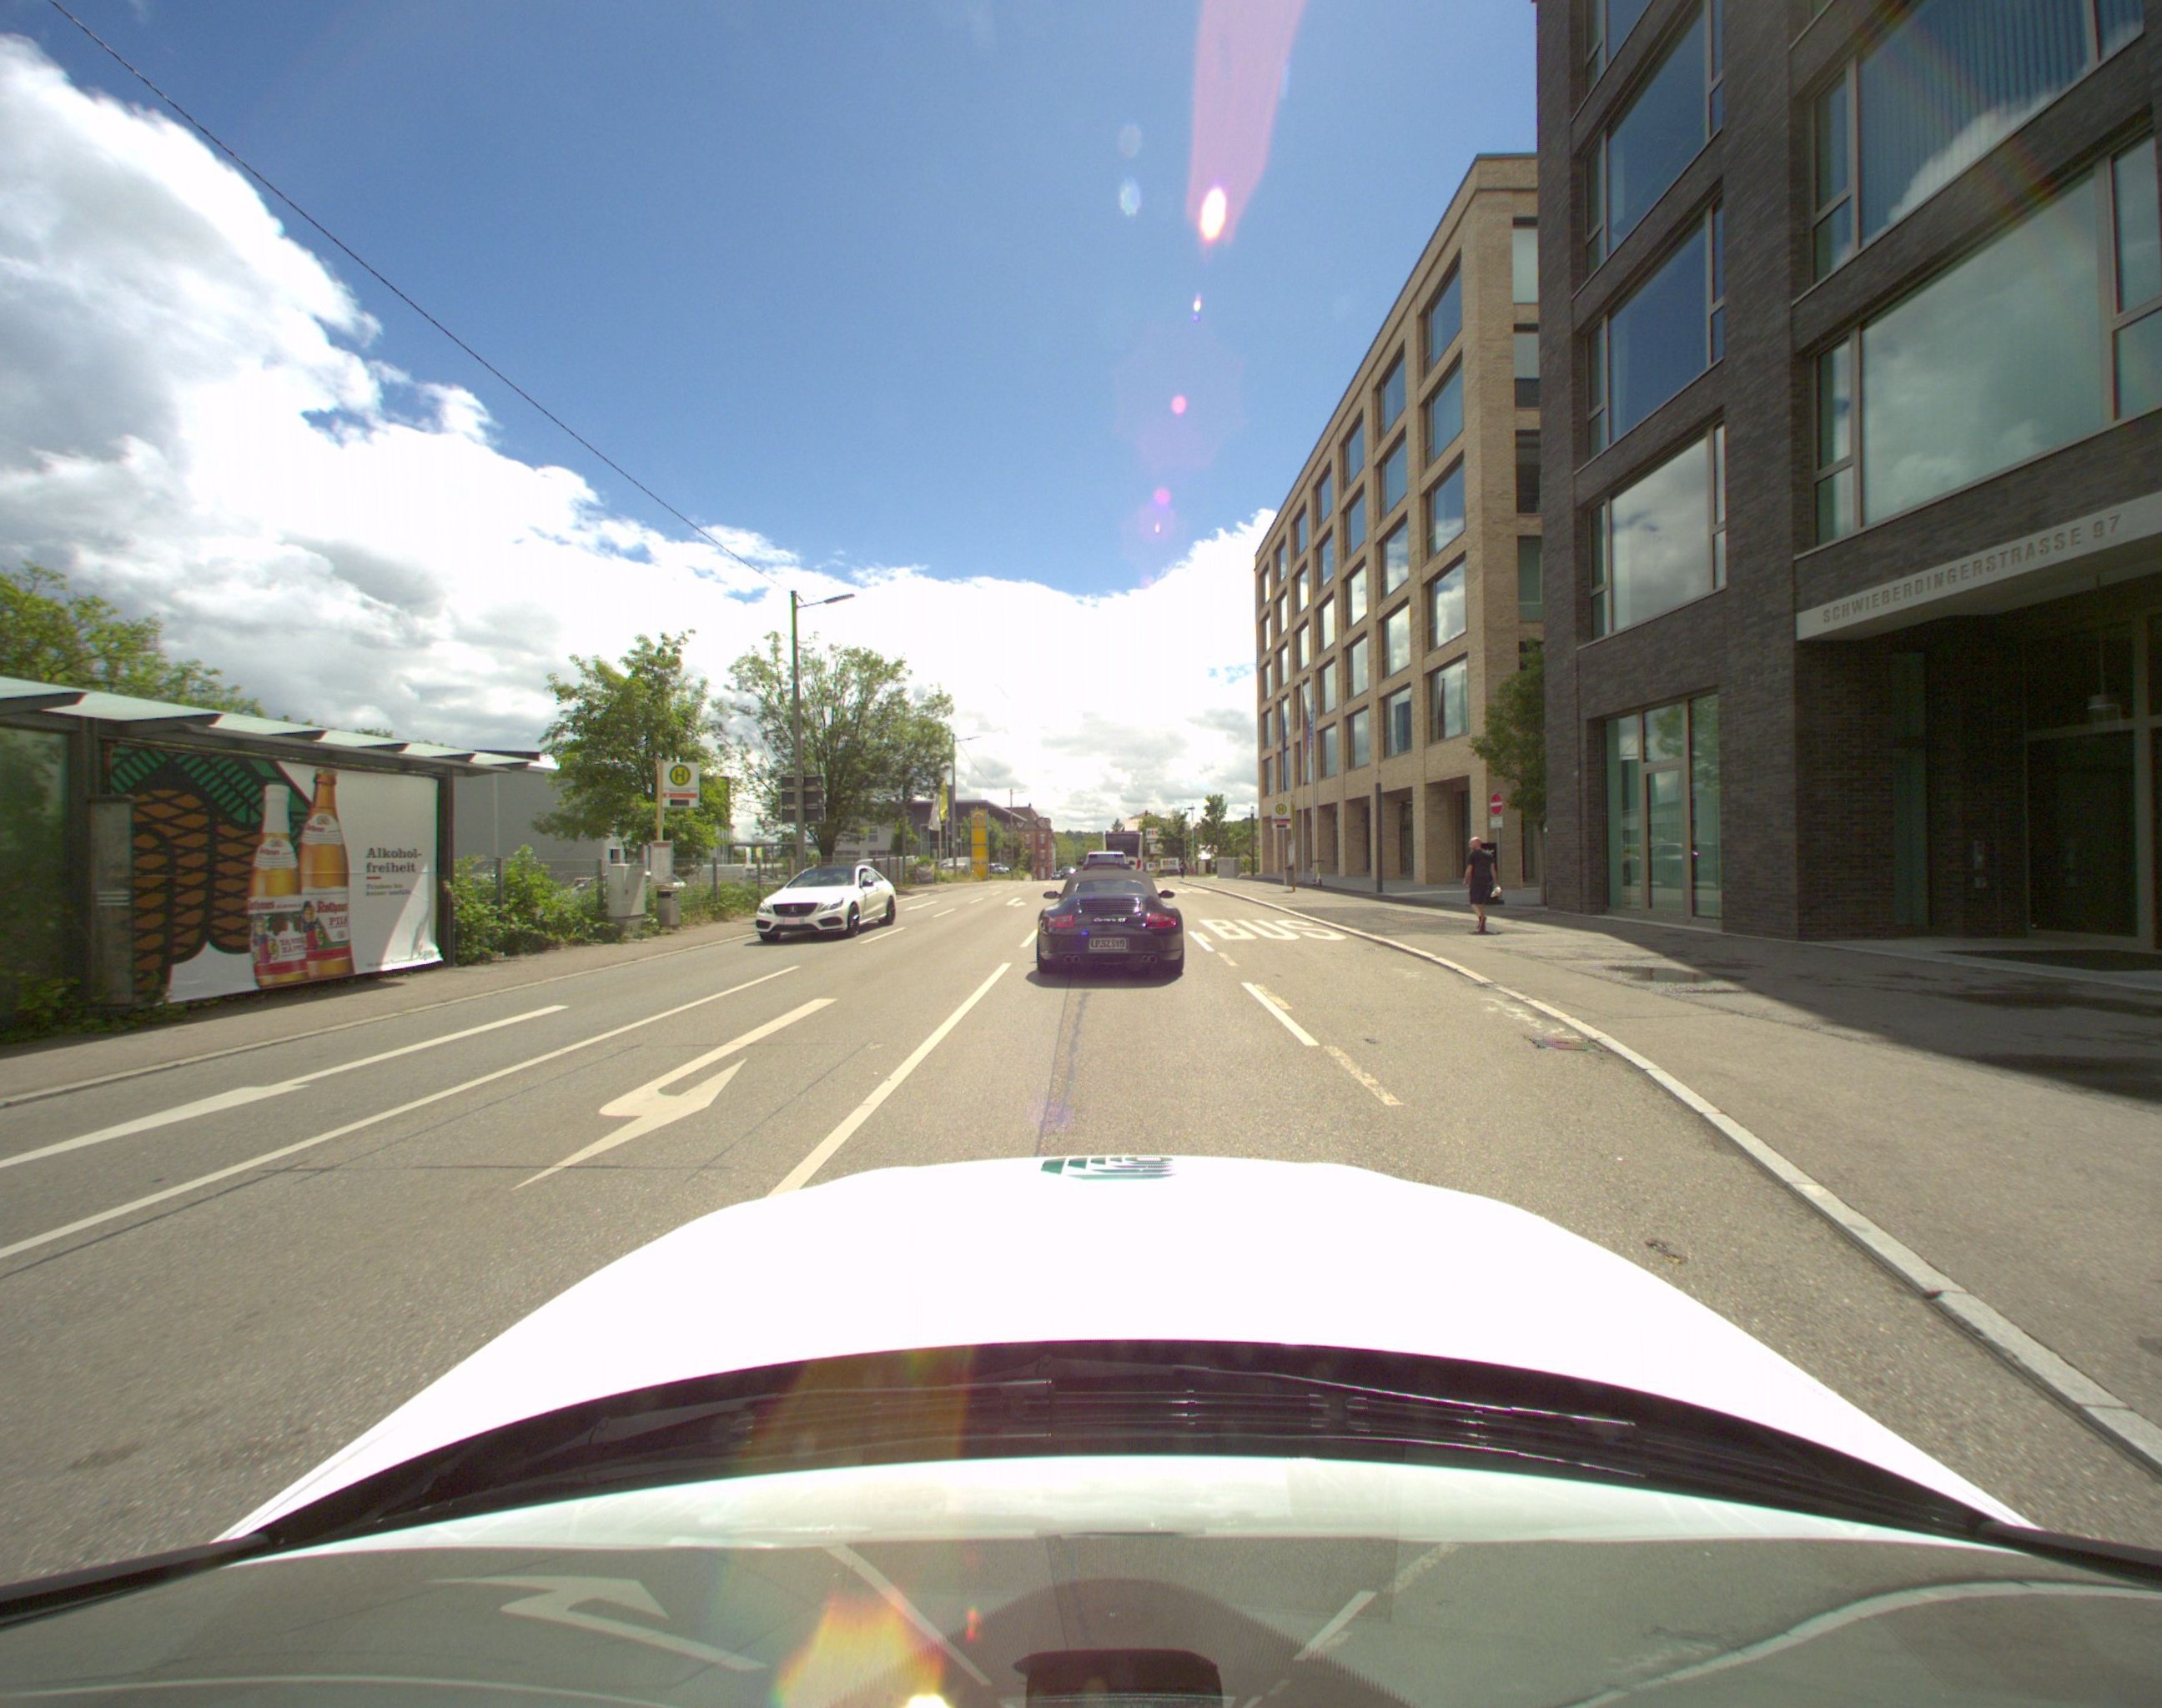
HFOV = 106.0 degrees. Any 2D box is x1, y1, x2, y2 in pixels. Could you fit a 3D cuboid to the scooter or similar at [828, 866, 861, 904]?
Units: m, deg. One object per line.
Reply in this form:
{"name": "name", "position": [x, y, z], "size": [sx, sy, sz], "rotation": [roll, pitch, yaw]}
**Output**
{"name": "scooter or similar", "position": [-8.121, 1.053, 27.981], "size": [0.532, 1.266, 1.474], "rotation": [0, 0, 6]}

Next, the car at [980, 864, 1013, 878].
{"name": "car", "position": [-10.307, 2.124, 99.898], "size": [1.913, 1.573, 4.578], "rotation": [-2, -2, 24]}

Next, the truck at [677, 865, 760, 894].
{"name": "truck", "position": [-31.198, 2.183, 70.342], "size": [6.314, 2.229, 2.683], "rotation": [-1, -2, -20]}

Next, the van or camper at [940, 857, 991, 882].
{"name": "van or camper", "position": [-12.149, 1.592, 86.192], "size": [5.010, 2.531, 2.318], "rotation": [-1, 0, 0]}

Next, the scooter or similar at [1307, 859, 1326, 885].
{"name": "scooter or similar", "position": [10.524, 0.801, 36.440], "size": [0.425, 1.153, 1.404], "rotation": [-2, -1, 1]}

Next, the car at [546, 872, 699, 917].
{"name": "car", "position": [-15.792, 1.386, 28.179], "size": [4.255, 1.381, 1.869], "rotation": [-2, -1, 5]}

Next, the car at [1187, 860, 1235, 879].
{"name": "car", "position": [14.165, 1.668, 88.605], "size": [4.702, 1.848, 2.083], "rotation": [-2, -2, -7]}

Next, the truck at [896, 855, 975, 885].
{"name": "truck", "position": [-11.576, 1.296, 65.091], "size": [5.846, 2.148, 2.474], "rotation": [-2, -2, -2]}

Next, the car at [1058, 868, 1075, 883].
{"name": "car", "position": [-1.565, 2.437, 91.991], "size": [1.824, 1.509, 4.275], "rotation": [-2, -2, -1]}

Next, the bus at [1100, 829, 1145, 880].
{"name": "bus", "position": [3.036, 0.012, 57.896], "size": [2.790, 3.198, 12.207], "rotation": [-1, 0, 4]}

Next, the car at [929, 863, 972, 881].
{"name": "car", "position": [-13.387, 1.866, 83.595], "size": [3.967, 1.706, 2.004], "rotation": [-1, 0, 6]}

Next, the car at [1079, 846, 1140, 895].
{"name": "car", "position": [0.928, 0.556, 28.945], "size": [1.925, 1.583, 4.206], "rotation": [-1, 0, -1]}

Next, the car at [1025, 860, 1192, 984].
{"name": "car", "position": [0.403, 0.808, 11.564], "size": [1.923, 1.376, 4.210], "rotation": [-1, 0, 2]}

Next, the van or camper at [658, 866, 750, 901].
{"name": "van or camper", "position": [-27.938, 2.126, 60.569], "size": [5.898, 2.355, 2.488], "rotation": [-1, 0, -18]}

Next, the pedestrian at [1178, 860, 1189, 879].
{"name": "pedestrian", "position": [8.097, 1.225, 64.303], "size": [0.685, 1.536, 0.856], "rotation": [-2, -1, 1]}

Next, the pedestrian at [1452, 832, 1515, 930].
{"name": "pedestrian", "position": [7.399, 0.482, 15.015], "size": [0.681, 1.728, 0.962], "rotation": [0, 0, 1]}

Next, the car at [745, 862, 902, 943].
{"name": "car", "position": [-5.208, 0.912, 17.111], "size": [1.789, 1.376, 4.226], "rotation": [-2, 0, 2]}

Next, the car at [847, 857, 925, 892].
{"name": "car", "position": [-11.796, 1.202, 49.441], "size": [4.149, 2.013, 2.197], "rotation": [-1, 0, -2]}

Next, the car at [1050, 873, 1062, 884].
{"name": "car", "position": [-3.977, 3.857, 128.700], "size": [1.738, 1.595, 4.041], "rotation": [-4, -1, 0]}

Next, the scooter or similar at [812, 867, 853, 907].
{"name": "scooter or similar", "position": [-8.066, 1.053, 26.482], "size": [0.530, 1.262, 1.478], "rotation": [0, 0, 18]}

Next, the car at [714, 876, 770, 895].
{"name": "car", "position": [-28.472, 2.609, 68.507], "size": [4.245, 1.497, 1.914], "rotation": [0, -2, -22]}
